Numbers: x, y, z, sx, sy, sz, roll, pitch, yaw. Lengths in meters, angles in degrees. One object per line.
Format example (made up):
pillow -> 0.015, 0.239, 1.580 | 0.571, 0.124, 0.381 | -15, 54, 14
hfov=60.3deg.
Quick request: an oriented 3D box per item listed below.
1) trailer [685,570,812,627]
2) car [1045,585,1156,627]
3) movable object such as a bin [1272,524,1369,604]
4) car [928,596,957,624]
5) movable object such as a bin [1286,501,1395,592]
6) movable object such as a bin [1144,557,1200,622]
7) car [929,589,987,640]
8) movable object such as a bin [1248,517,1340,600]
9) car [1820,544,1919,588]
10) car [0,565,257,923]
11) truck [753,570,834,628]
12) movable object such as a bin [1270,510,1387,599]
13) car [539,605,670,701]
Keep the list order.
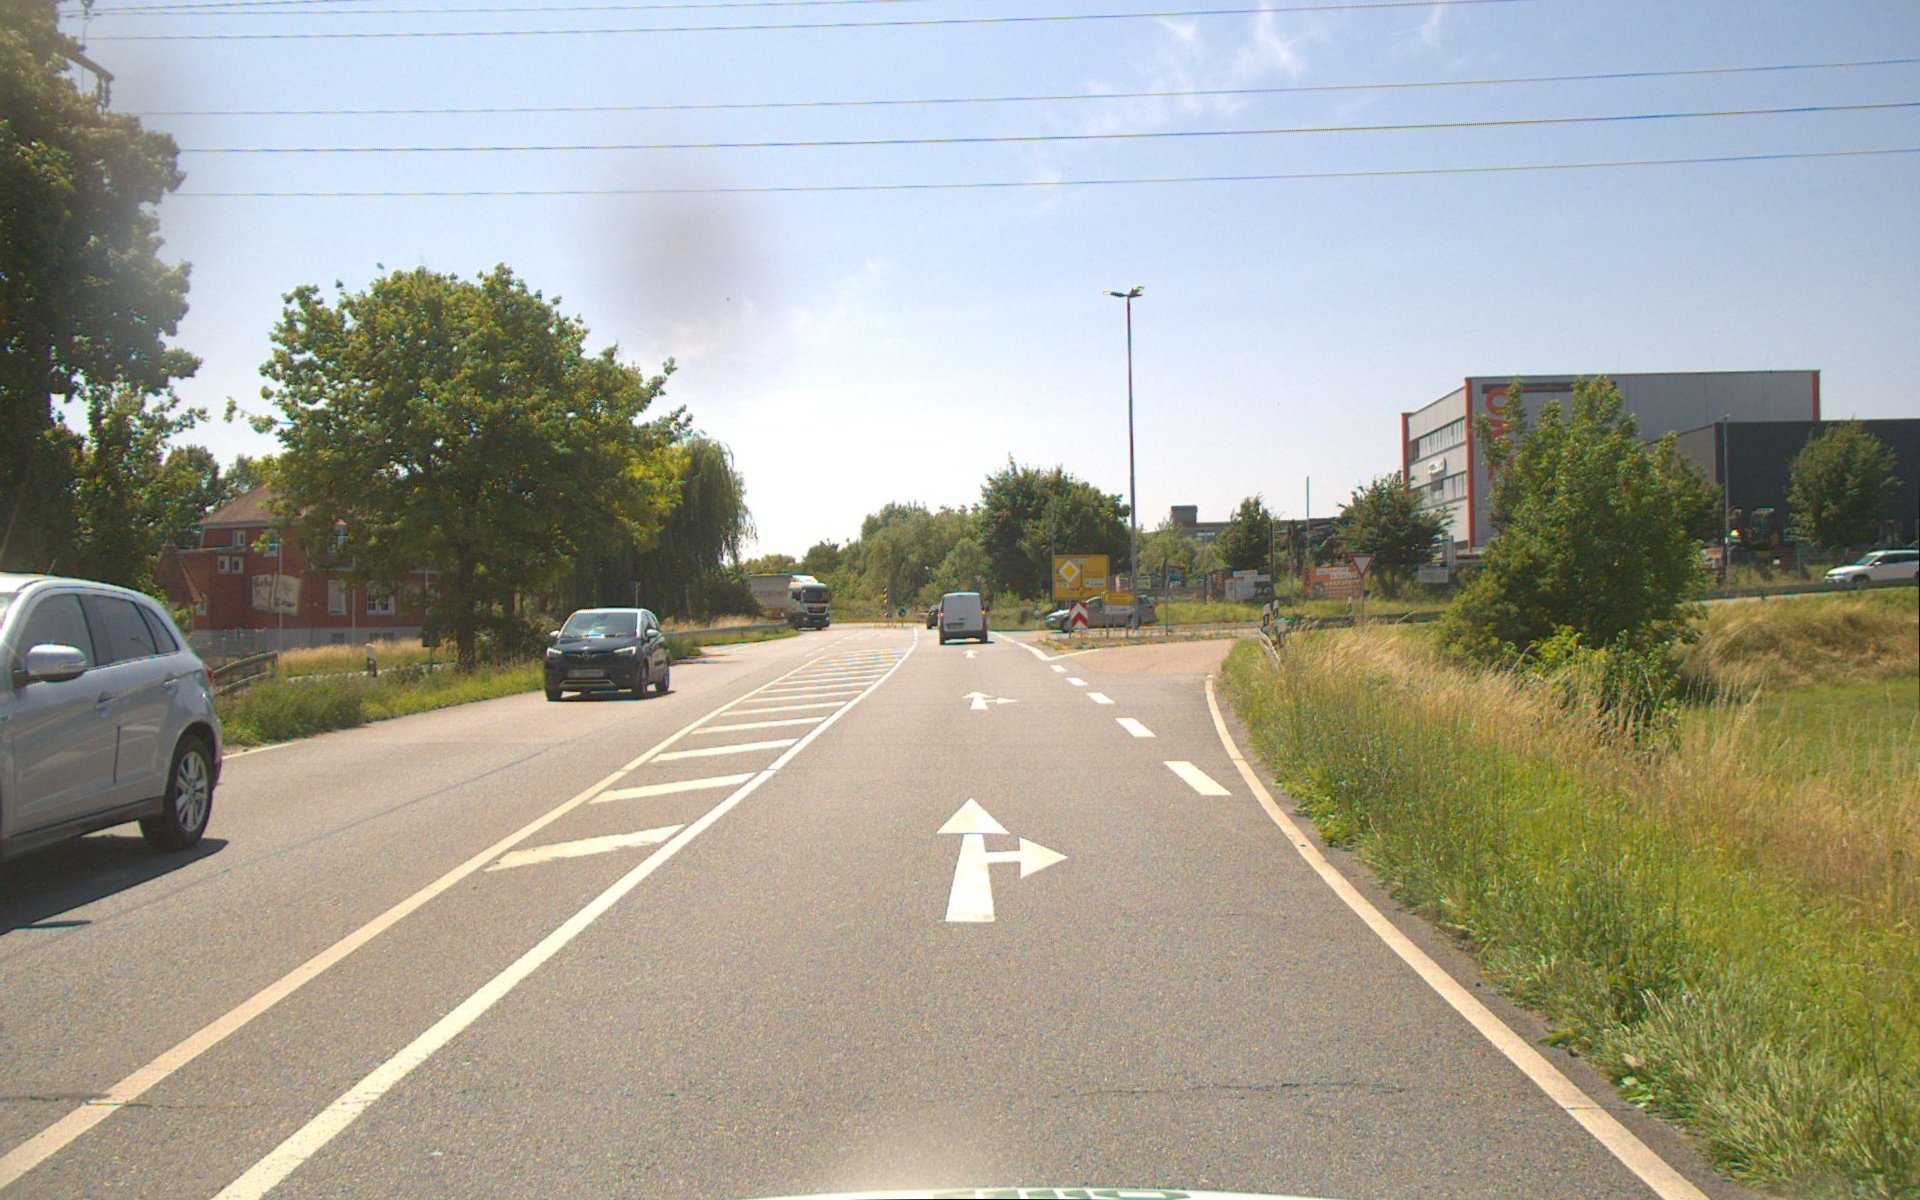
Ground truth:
trailer -> -16.361, -0.139, 126.741 | 2.774, 4.127, 13.299 | 0, 0, -41
car -> 5.806, 0.253, 68.777 | 4.420, 1.534, 1.914 | -2, 0, -1
movable object such as a bin -> 20.384, -2.002, 93.726 | 4.979, 4.350, 2.834 | 0, -2, 2
car -> -1.135, 0.605, 104.726 | 1.769, 1.583, 3.999 | -1, 1, -1
movable object such as a bin -> 22.560, -3.139, 98.388 | 5.795, 5.195, 3.109 | 0, -2, 2
movable object such as a bin -> 11.396, -0.511, 89.155 | 2.276, 3.307, 5.099 | 0, -2, -1
car -> -0.103, 0.522, 59.758 | 1.866, 1.763, 3.820 | -1, -1, -3
movable object such as a bin -> 22.439, -2.751, 111.238 | 5.598, 5.362, 3.221 | 0, -2, 2
car -> 38.634, -1.423, 69.537 | 4.000, 1.649, 1.759 | -3, 1, 1
car -> -5.239, 0.640, 8.334 | 1.707, 1.617, 4.526 | 1, 0, -4
truck -> -12.328, -0.092, 121.996 | 2.773, 4.127, 6.656 | 0, 0, -40
movable object such as a bin -> 22.717, -2.759, 102.282 | 6.454, 5.238, 3.806 | 0, -2, 2
car -> -6.292, 0.895, 29.660 | 1.698, 1.618, 3.955 | 0, 0, -4
